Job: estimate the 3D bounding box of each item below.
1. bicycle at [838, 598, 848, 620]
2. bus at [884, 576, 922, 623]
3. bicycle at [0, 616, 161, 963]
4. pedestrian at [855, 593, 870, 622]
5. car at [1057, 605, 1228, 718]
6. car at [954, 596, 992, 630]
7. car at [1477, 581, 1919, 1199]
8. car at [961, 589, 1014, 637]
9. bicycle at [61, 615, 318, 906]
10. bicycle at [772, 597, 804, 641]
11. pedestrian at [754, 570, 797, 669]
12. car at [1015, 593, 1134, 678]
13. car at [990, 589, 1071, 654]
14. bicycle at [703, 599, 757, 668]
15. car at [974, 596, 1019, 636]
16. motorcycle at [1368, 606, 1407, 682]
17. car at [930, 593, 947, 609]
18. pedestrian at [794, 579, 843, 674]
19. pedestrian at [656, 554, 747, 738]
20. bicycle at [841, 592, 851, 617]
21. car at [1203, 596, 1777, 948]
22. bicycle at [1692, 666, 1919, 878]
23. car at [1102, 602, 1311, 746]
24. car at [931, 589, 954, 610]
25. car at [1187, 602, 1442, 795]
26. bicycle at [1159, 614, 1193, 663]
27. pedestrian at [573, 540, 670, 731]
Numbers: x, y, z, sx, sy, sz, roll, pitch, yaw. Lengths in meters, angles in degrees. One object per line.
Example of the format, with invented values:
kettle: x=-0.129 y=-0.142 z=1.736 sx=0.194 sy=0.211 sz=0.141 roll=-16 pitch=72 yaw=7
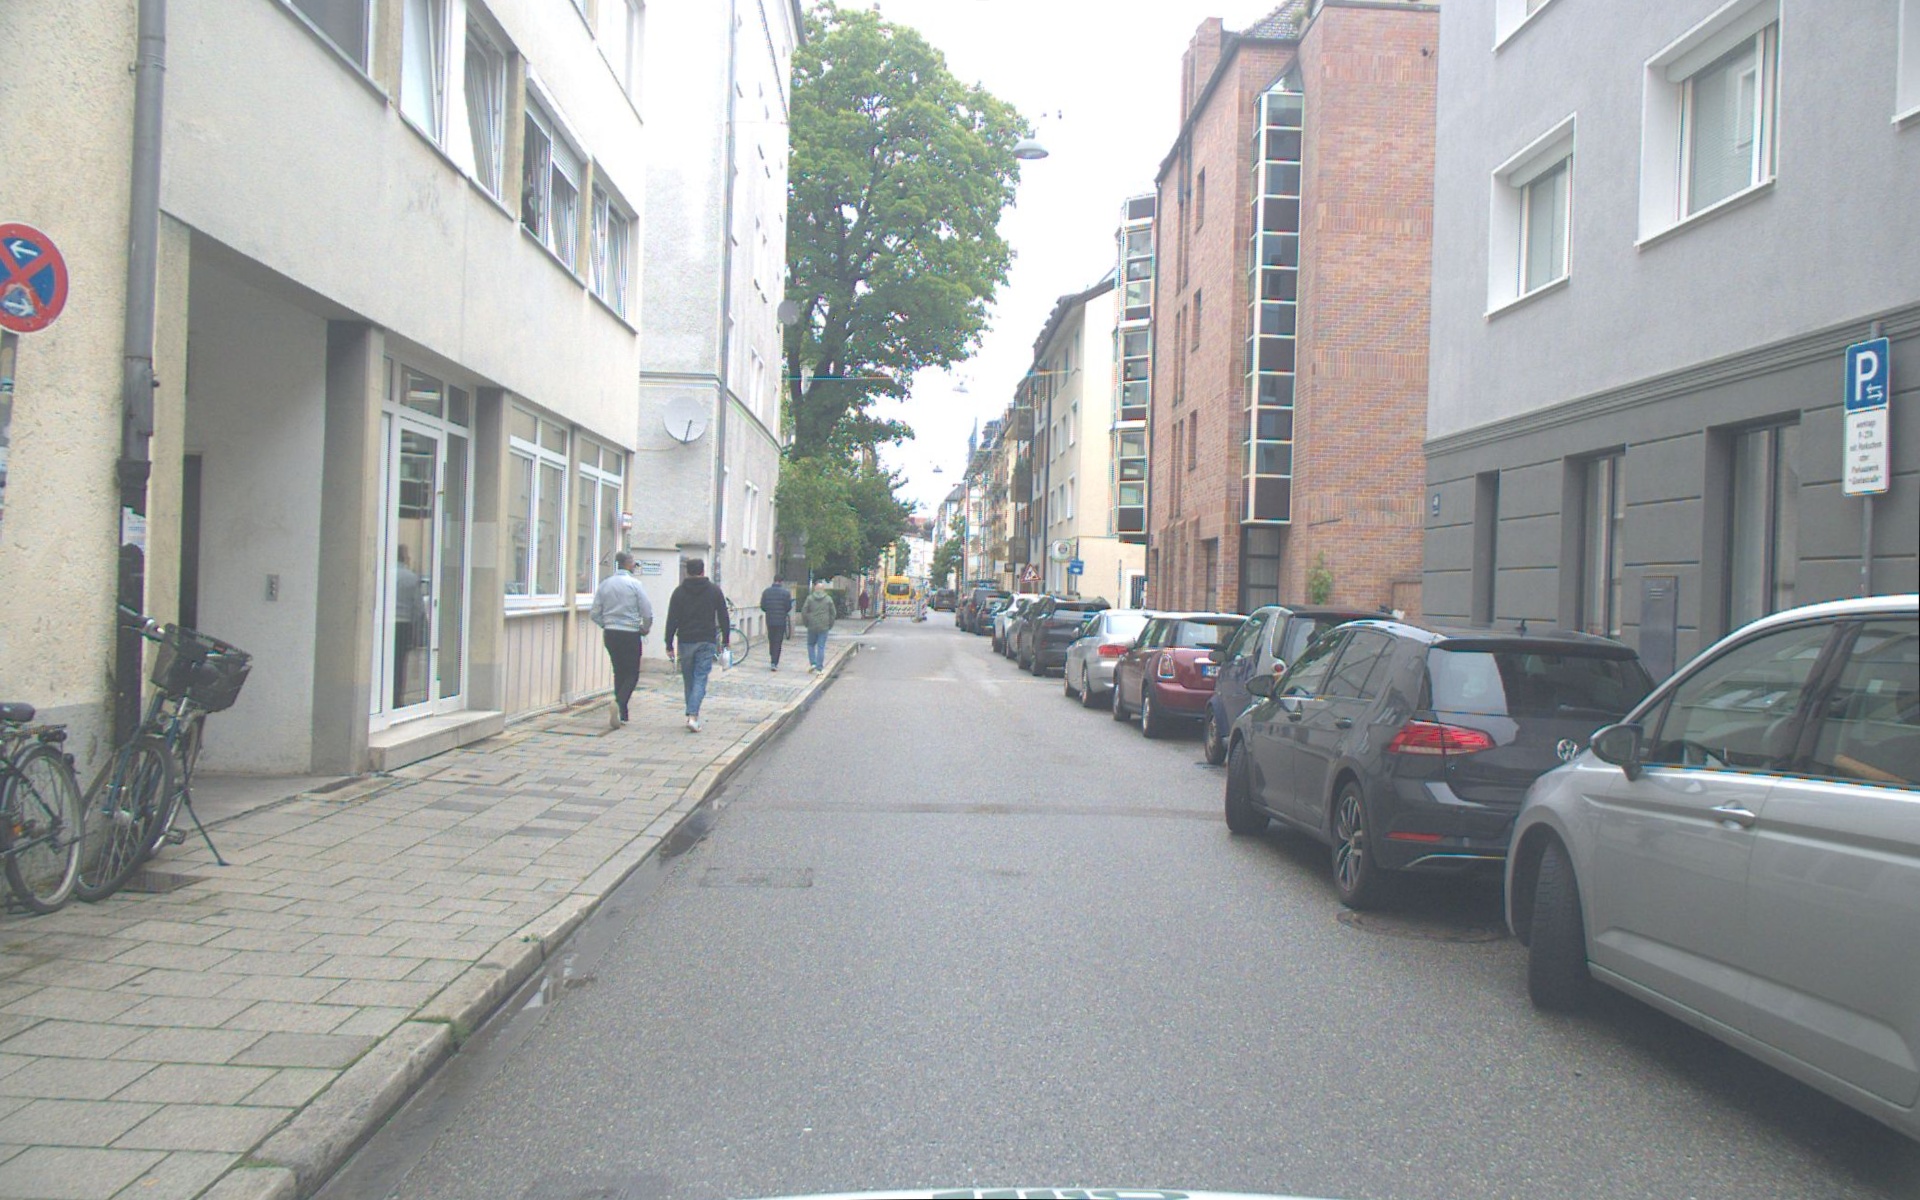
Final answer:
bicycle: x=-5.987 y=0.474 z=84.645 sx=0.437 sy=1.092 sz=2.466 roll=1 pitch=0 yaw=-3
bus: x=-3.981 y=-0.004 z=116.592 sx=2.540 sy=3.156 sz=6.304 roll=1 pitch=0 yaw=-2
bicycle: x=-3.547 y=0.666 z=6.000 sx=0.449 sy=1.179 sz=1.605 roll=4 pitch=0 yaw=-1
pedestrian: x=-5.156 y=0.389 z=87.920 sx=0.741 sy=1.517 sz=0.831 roll=1 pitch=-1 yaw=-2
car: x=2.622 y=0.847 z=24.824 sx=1.800 sy=1.442 sz=4.598 roll=2 pitch=0 yaw=-3
car: x=0.628 y=0.637 z=82.986 sx=1.603 sy=1.541 sz=3.827 roll=5 pitch=0 yaw=-2
car: x=3.248 y=0.758 z=4.938 sx=1.838 sy=1.598 sz=4.313 roll=1 pitch=0 yaw=-4
car: x=1.156 y=0.517 z=71.119 sx=1.766 sy=1.851 sz=3.997 roll=5 pitch=0 yaw=-4
bicycle: x=-3.524 y=0.676 z=7.717 sx=0.551 sy=1.179 sz=1.718 roll=2 pitch=0 yaw=-8
bicycle: x=-4.714 y=0.514 z=45.262 sx=0.466 sy=1.130 sz=1.751 roll=2 pitch=0 yaw=-19
pedestrian: x=-3.380 y=0.359 z=30.328 sx=0.600 sy=1.743 sz=0.823 roll=4 pitch=-1 yaw=-2
car: x=2.325 y=0.695 z=34.664 sx=1.848 sy=1.582 sz=4.388 roll=2 pitch=0 yaw=-4
car: x=1.868 y=0.544 z=45.005 sx=1.714 sy=1.658 sz=4.193 roll=2 pitch=0 yaw=-4
bicycle: x=-4.274 y=0.602 z=30.662 sx=0.632 sy=1.239 sz=1.655 roll=1 pitch=0 yaw=-20
car: x=1.449 y=0.631 z=66.767 sx=1.592 sy=1.513 sz=3.807 roll=3 pitch=0 yaw=-2
motorcycle: x=8.032 y=0.814 z=31.113 sx=0.528 sy=1.368 sz=1.942 roll=1 pitch=0 yaw=9
car: x=-2.311 y=0.125 z=177.112 sx=1.765 sy=1.642 sz=3.999 roll=2 pitch=0 yaw=-2
pedestrian: x=-2.606 y=0.485 z=30.464 sx=0.738 sy=1.688 sz=0.906 roll=4 pitch=-1 yaw=-2
pedestrian: x=-2.629 y=0.460 z=16.904 sx=0.704 sy=1.796 sz=0.838 roll=3 pitch=-1 yaw=-2
bicycle: x=-6.726 y=0.255 z=97.428 sx=0.504 sy=1.442 sz=1.933 roll=1 pitch=0 yaw=-2
car: x=2.783 y=0.800 z=9.808 sx=1.803 sy=1.555 sz=4.290 roll=2 pitch=0 yaw=-3
bicycle: x=5.351 y=1.023 z=10.418 sx=0.557 sy=1.110 sz=1.996 roll=2 pitch=0 yaw=-1
car: x=2.888 y=0.819 z=20.232 sx=1.711 sy=1.487 sz=4.148 roll=2 pitch=0 yaw=-3
car: x=-1.583 y=-0.072 z=148.828 sx=1.766 sy=1.741 sz=3.824 roll=5 pitch=0 yaw=-4
car: x=3.177 y=0.825 z=15.374 sx=1.491 sy=1.538 sz=3.200 roll=2 pitch=0 yaw=-3
bicycle: x=5.083 y=0.898 z=38.964 sx=0.548 sy=1.098 sz=1.471 roll=2 pitch=0 yaw=-1
pedestrian: x=-3.391 y=0.346 z=16.639 sx=0.704 sy=1.828 sz=0.916 roll=3 pitch=-1 yaw=-2
